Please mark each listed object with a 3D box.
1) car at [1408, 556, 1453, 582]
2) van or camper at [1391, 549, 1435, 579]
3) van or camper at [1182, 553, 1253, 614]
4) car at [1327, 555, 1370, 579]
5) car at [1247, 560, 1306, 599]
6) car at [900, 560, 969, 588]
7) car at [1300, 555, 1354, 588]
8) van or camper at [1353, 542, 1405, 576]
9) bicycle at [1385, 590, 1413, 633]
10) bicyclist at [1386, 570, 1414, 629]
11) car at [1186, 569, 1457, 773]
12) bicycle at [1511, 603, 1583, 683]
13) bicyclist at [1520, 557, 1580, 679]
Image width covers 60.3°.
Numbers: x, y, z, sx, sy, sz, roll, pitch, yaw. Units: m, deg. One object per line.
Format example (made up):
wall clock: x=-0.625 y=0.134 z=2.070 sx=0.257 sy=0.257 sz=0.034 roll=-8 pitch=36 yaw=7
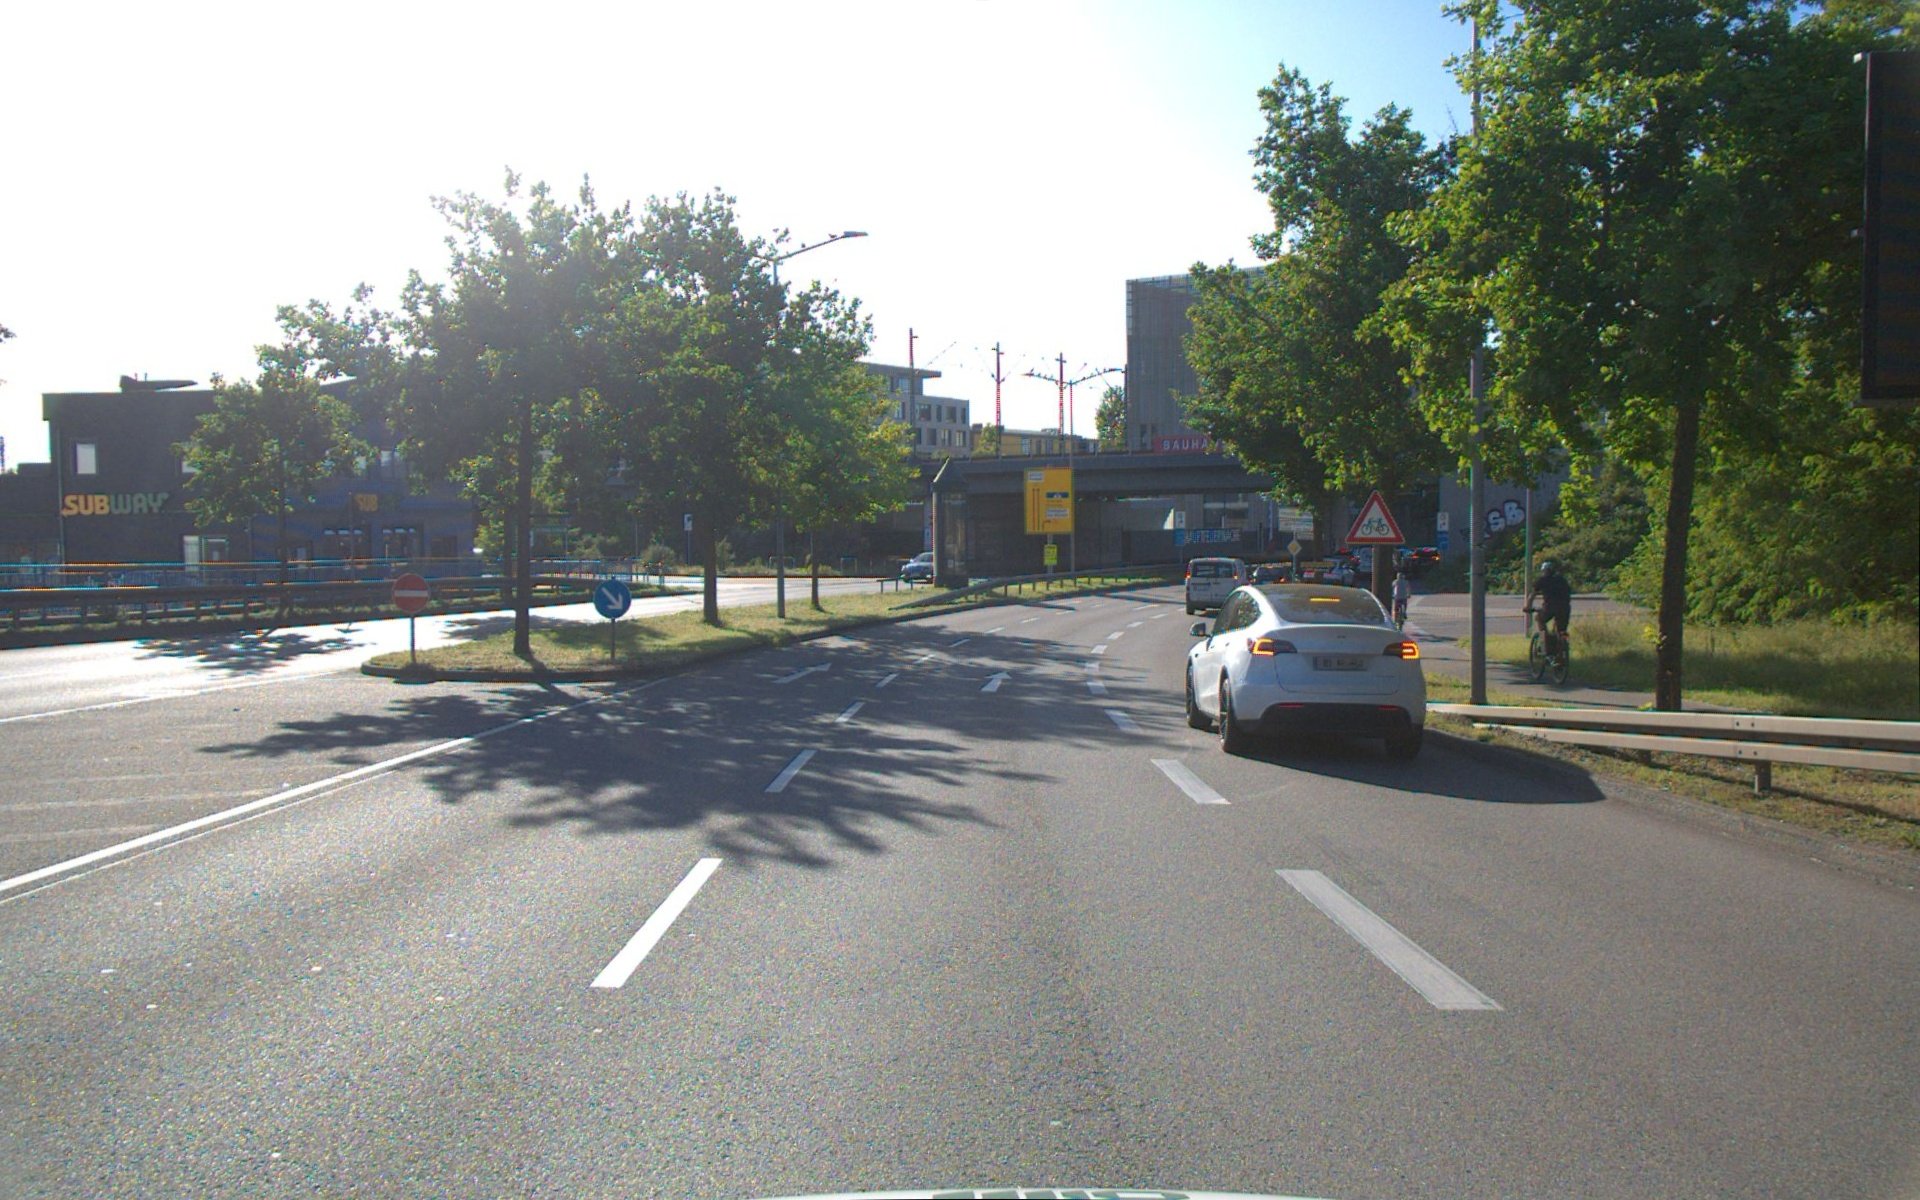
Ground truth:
car: x=28.965 y=-1.920 z=101.797 sx=1.677 sy=1.548 sz=3.734 roll=1 pitch=3 yaw=32
van or camper: x=29.550 y=-2.380 z=107.739 sx=1.722 sy=1.844 sz=3.950 roll=1 pitch=3 yaw=32
van or camper: x=8.953 y=-0.613 z=57.201 sx=1.917 sy=1.916 sz=4.884 roll=1 pitch=2 yaw=15
car: x=25.464 y=-2.171 z=108.348 sx=1.677 sy=1.477 sz=3.734 roll=1 pitch=3 yaw=32
car: x=13.522 y=-0.892 z=70.599 sx=1.573 sy=1.459 sz=3.676 roll=2 pitch=4 yaw=25
car: x=-1.253 y=-1.333 z=84.143 sx=1.763 sy=1.333 sz=4.614 roll=1 pitch=2 yaw=23
car: x=17.957 y=-1.419 z=80.739 sx=1.728 sy=1.501 sz=4.287 roll=1 pitch=2 yaw=25
van or camper: x=23.591 y=-2.340 z=93.089 sx=1.791 sy=1.822 sz=4.539 roll=2 pitch=3 yaw=28
bicycle: x=12.738 y=0.321 z=47.980 sx=0.727 sy=1.131 sz=2.454 roll=-2 pitch=1 yaw=15
bicyclist: x=12.757 y=-0.022 z=47.992 sx=0.730 sy=1.647 sz=0.913 roll=-2 pitch=1 yaw=15
car: x=3.532 y=0.597 z=16.964 sx=1.874 sy=1.669 sz=4.412 roll=-2 pitch=2 yaw=1
bicycle: x=9.076 y=0.640 z=25.657 sx=0.680 sy=1.114 sz=2.120 roll=-2 pitch=1 yaw=10
bicyclist: x=9.018 y=0.262 z=25.313 sx=0.661 sy=1.807 sz=0.949 roll=-2 pitch=1 yaw=10
